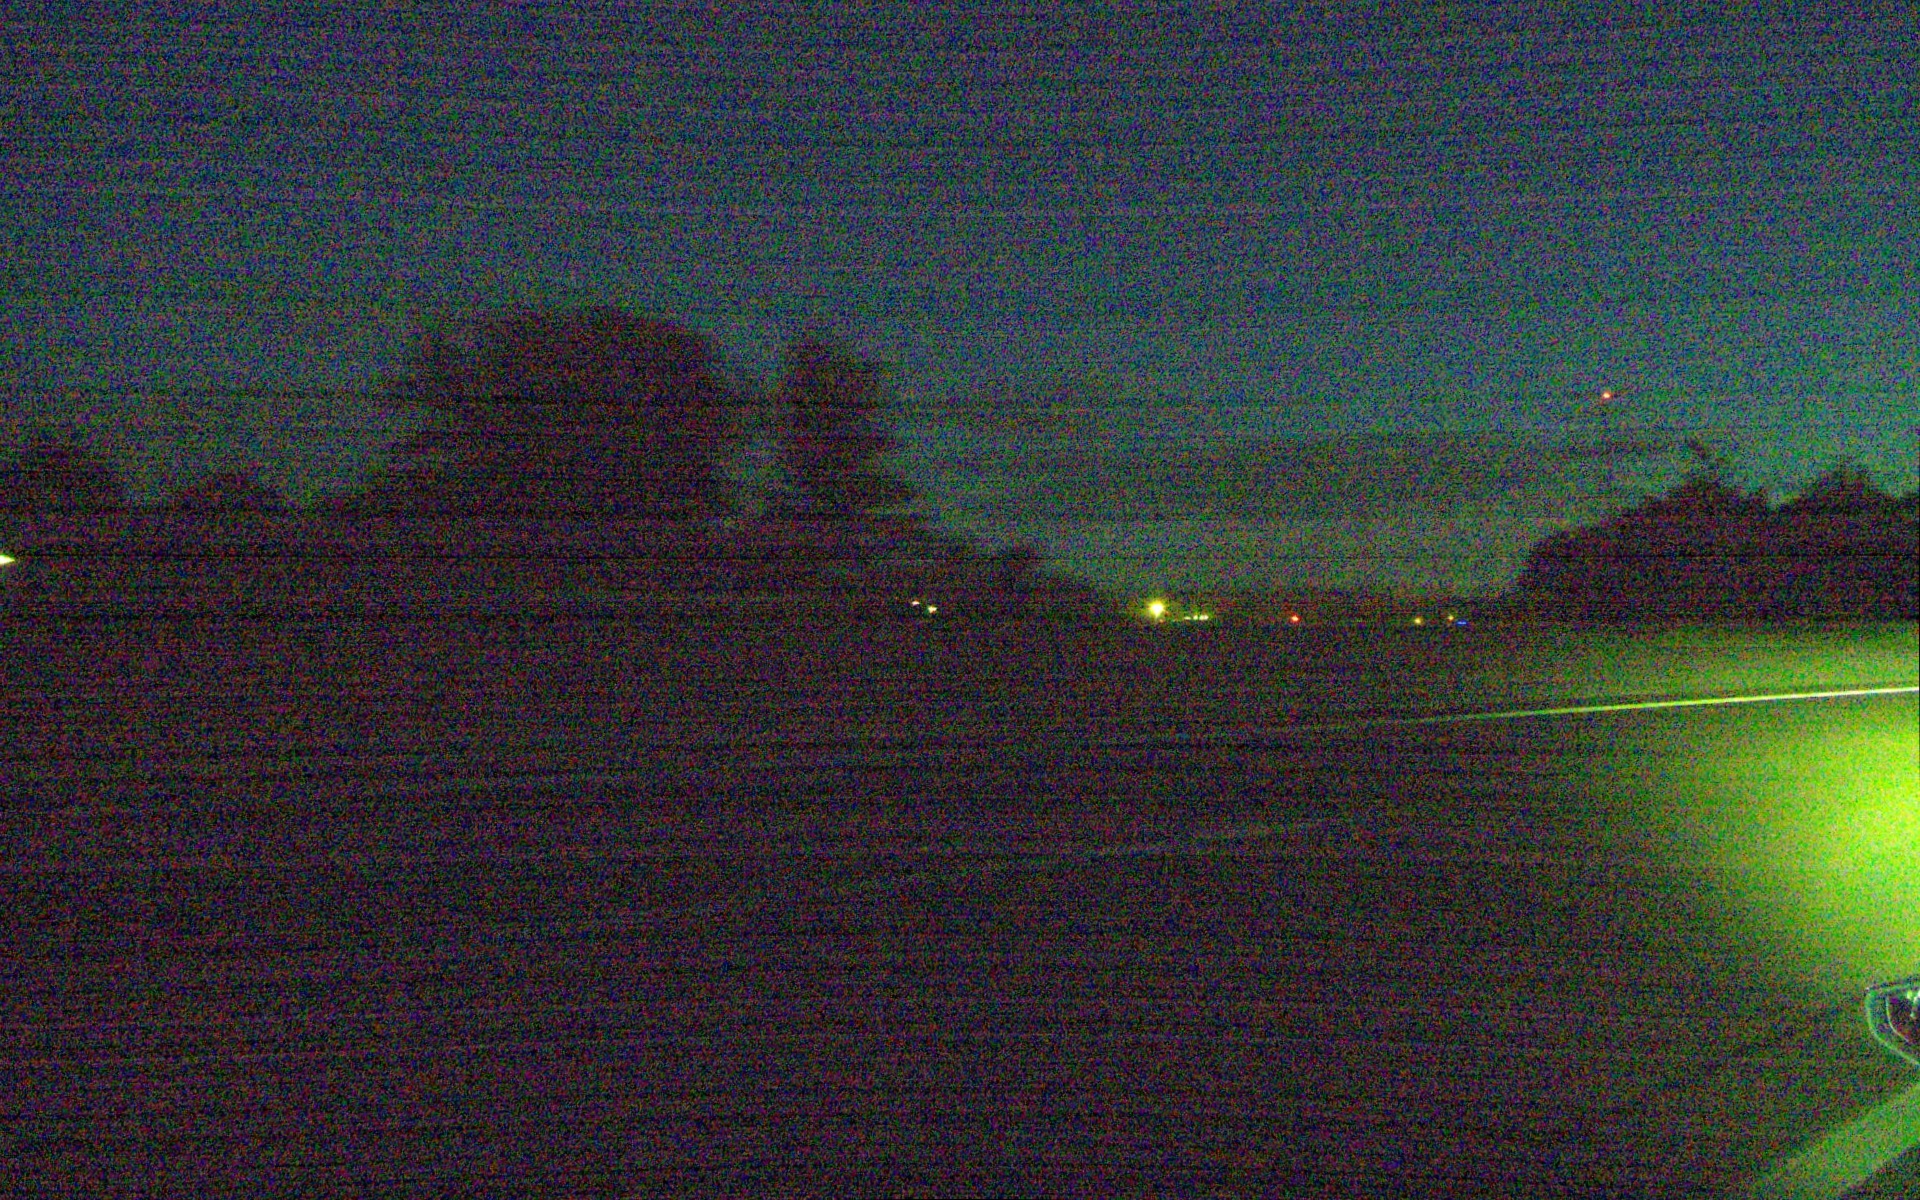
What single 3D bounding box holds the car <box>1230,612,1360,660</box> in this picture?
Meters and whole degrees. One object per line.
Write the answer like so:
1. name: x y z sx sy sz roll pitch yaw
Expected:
1. car: 10.881 1.159 32.566 3.952 1.439 1.833 1 0 -30
